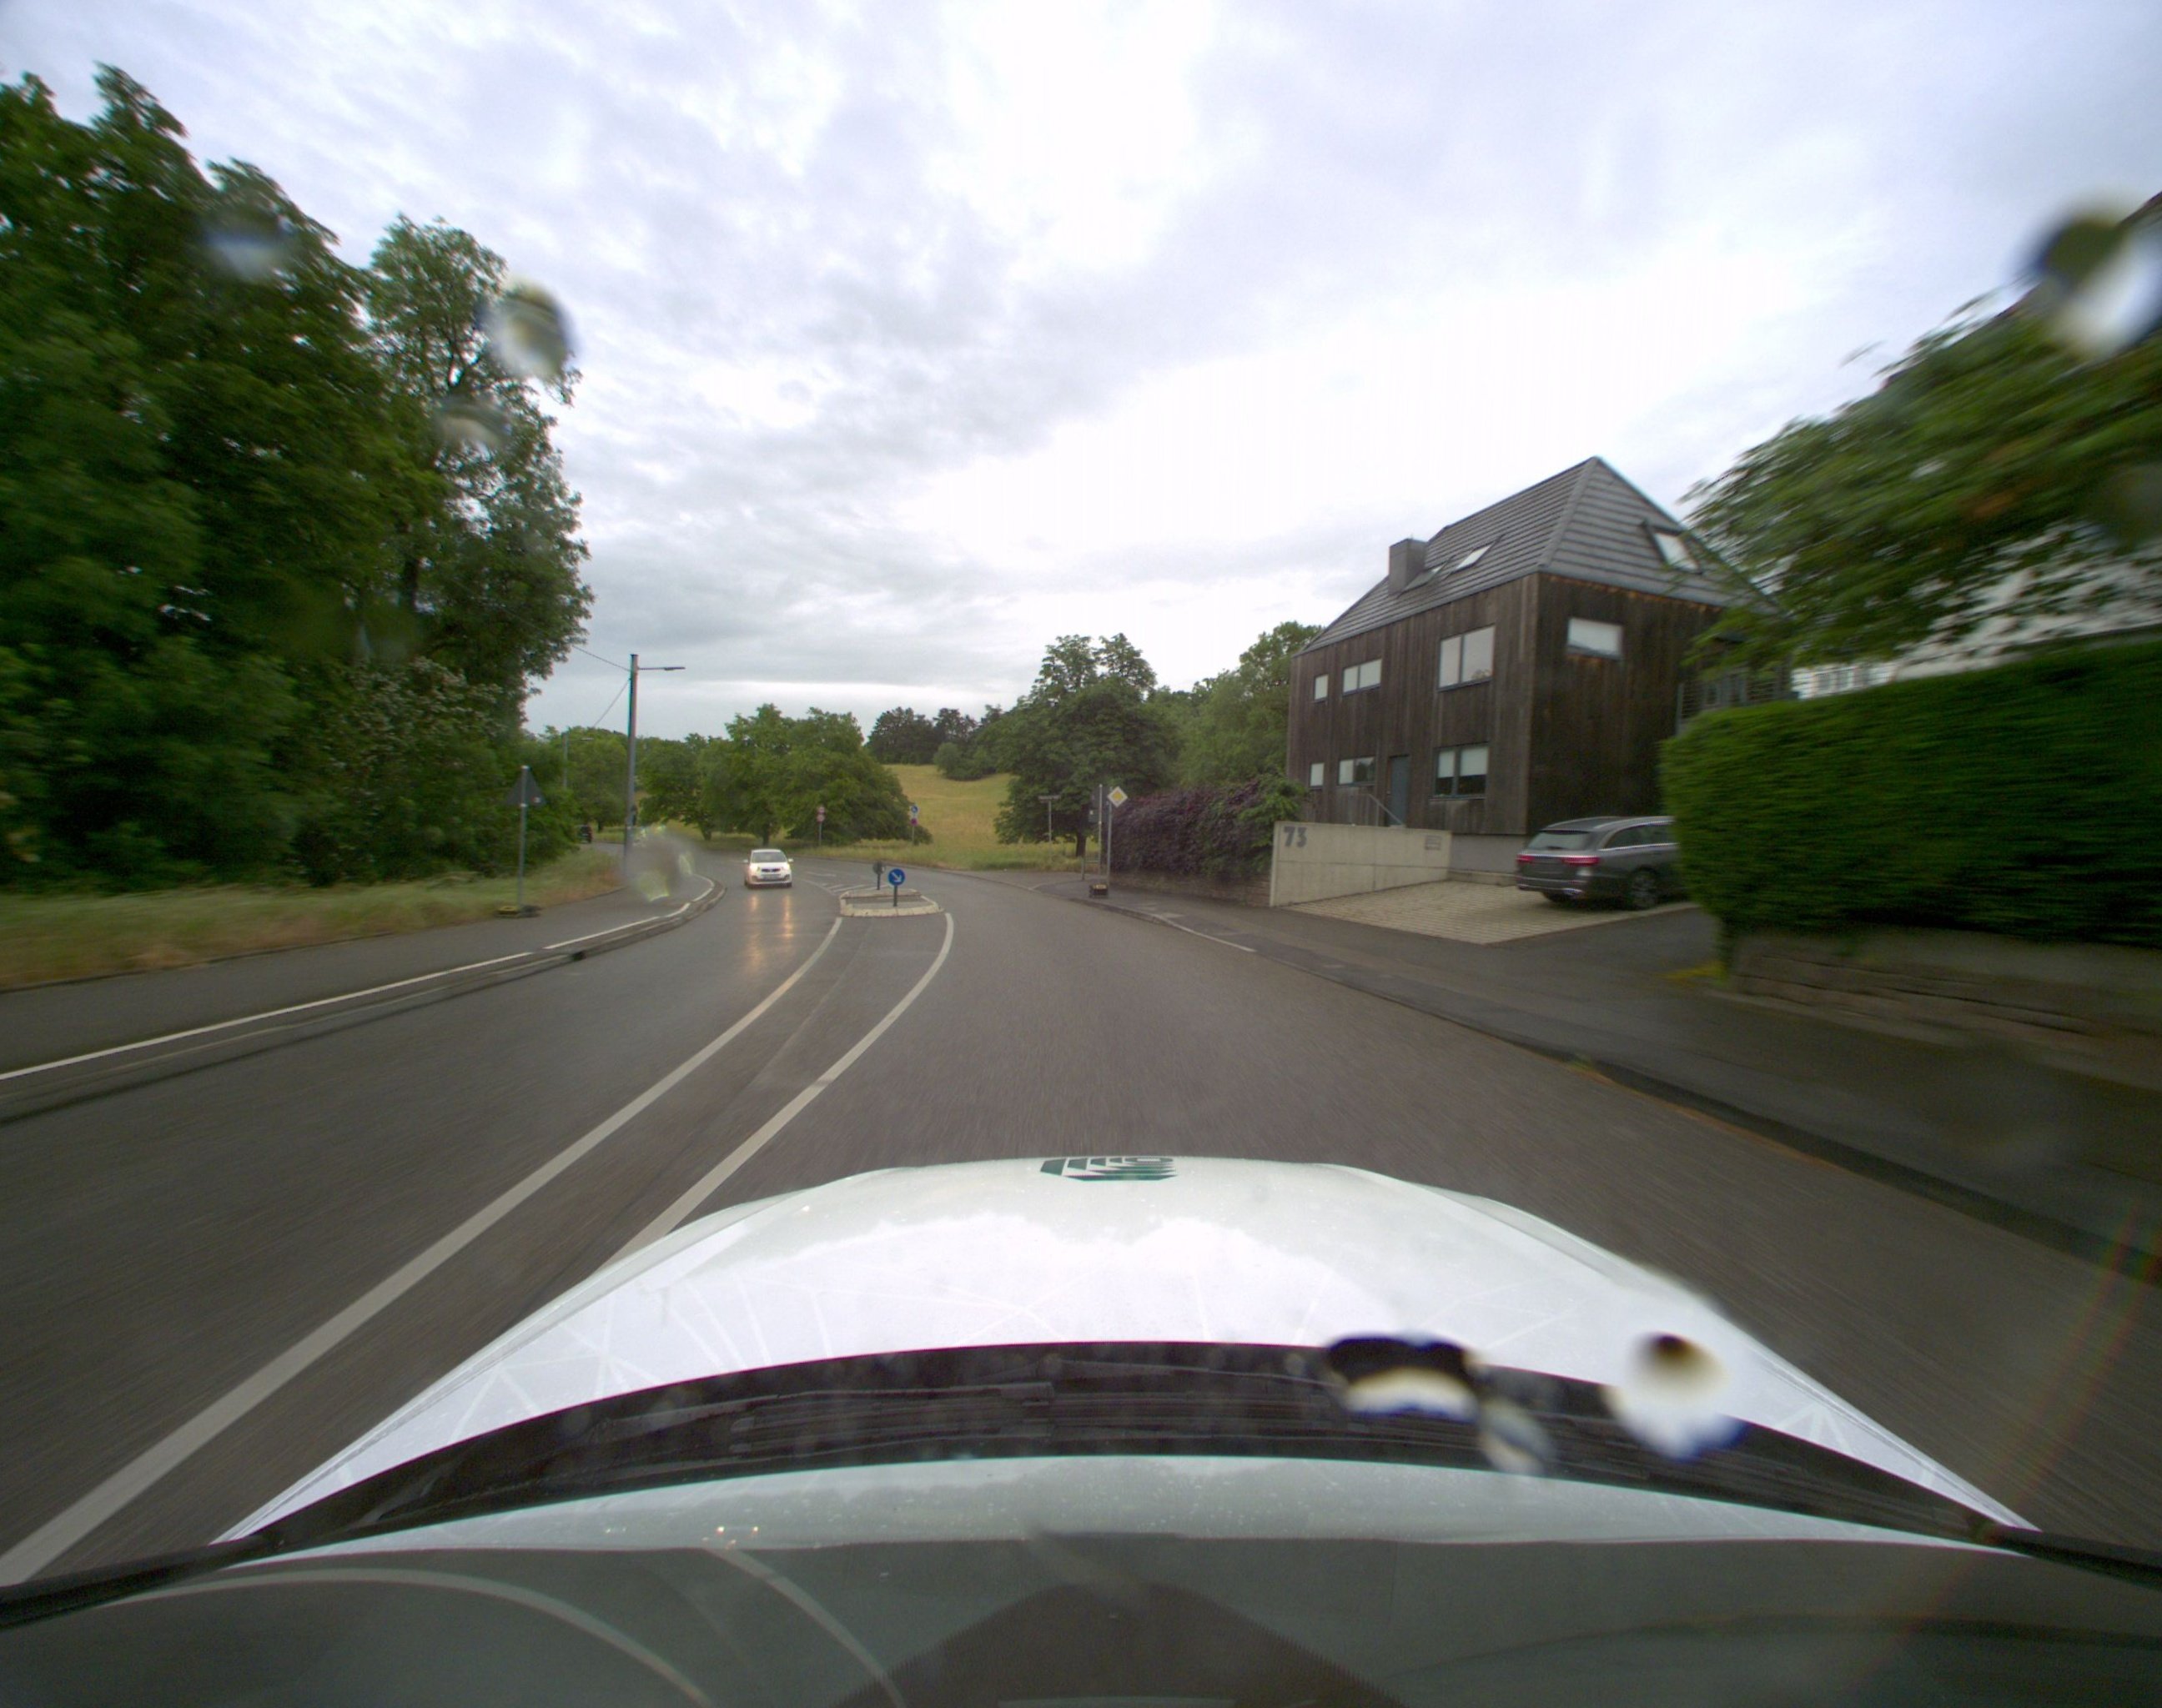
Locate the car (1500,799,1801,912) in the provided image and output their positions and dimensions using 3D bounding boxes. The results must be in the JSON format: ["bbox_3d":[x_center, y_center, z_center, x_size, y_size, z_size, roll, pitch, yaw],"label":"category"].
[{"bbox_3d":[9.950,-0.030,14.295,4.566,1.529,1.800,-4,2,-15],"label":"car"}]

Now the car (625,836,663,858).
[{"bbox_3d":[-34.654,-0.585,64.582,1.830,1.595,3.953,-2,3,-41],"label":"car"}]

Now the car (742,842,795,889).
[{"bbox_3d":[-12.537,0.399,32.578,1.801,1.485,3.972,-3,4,-22],"label":"car"}]
